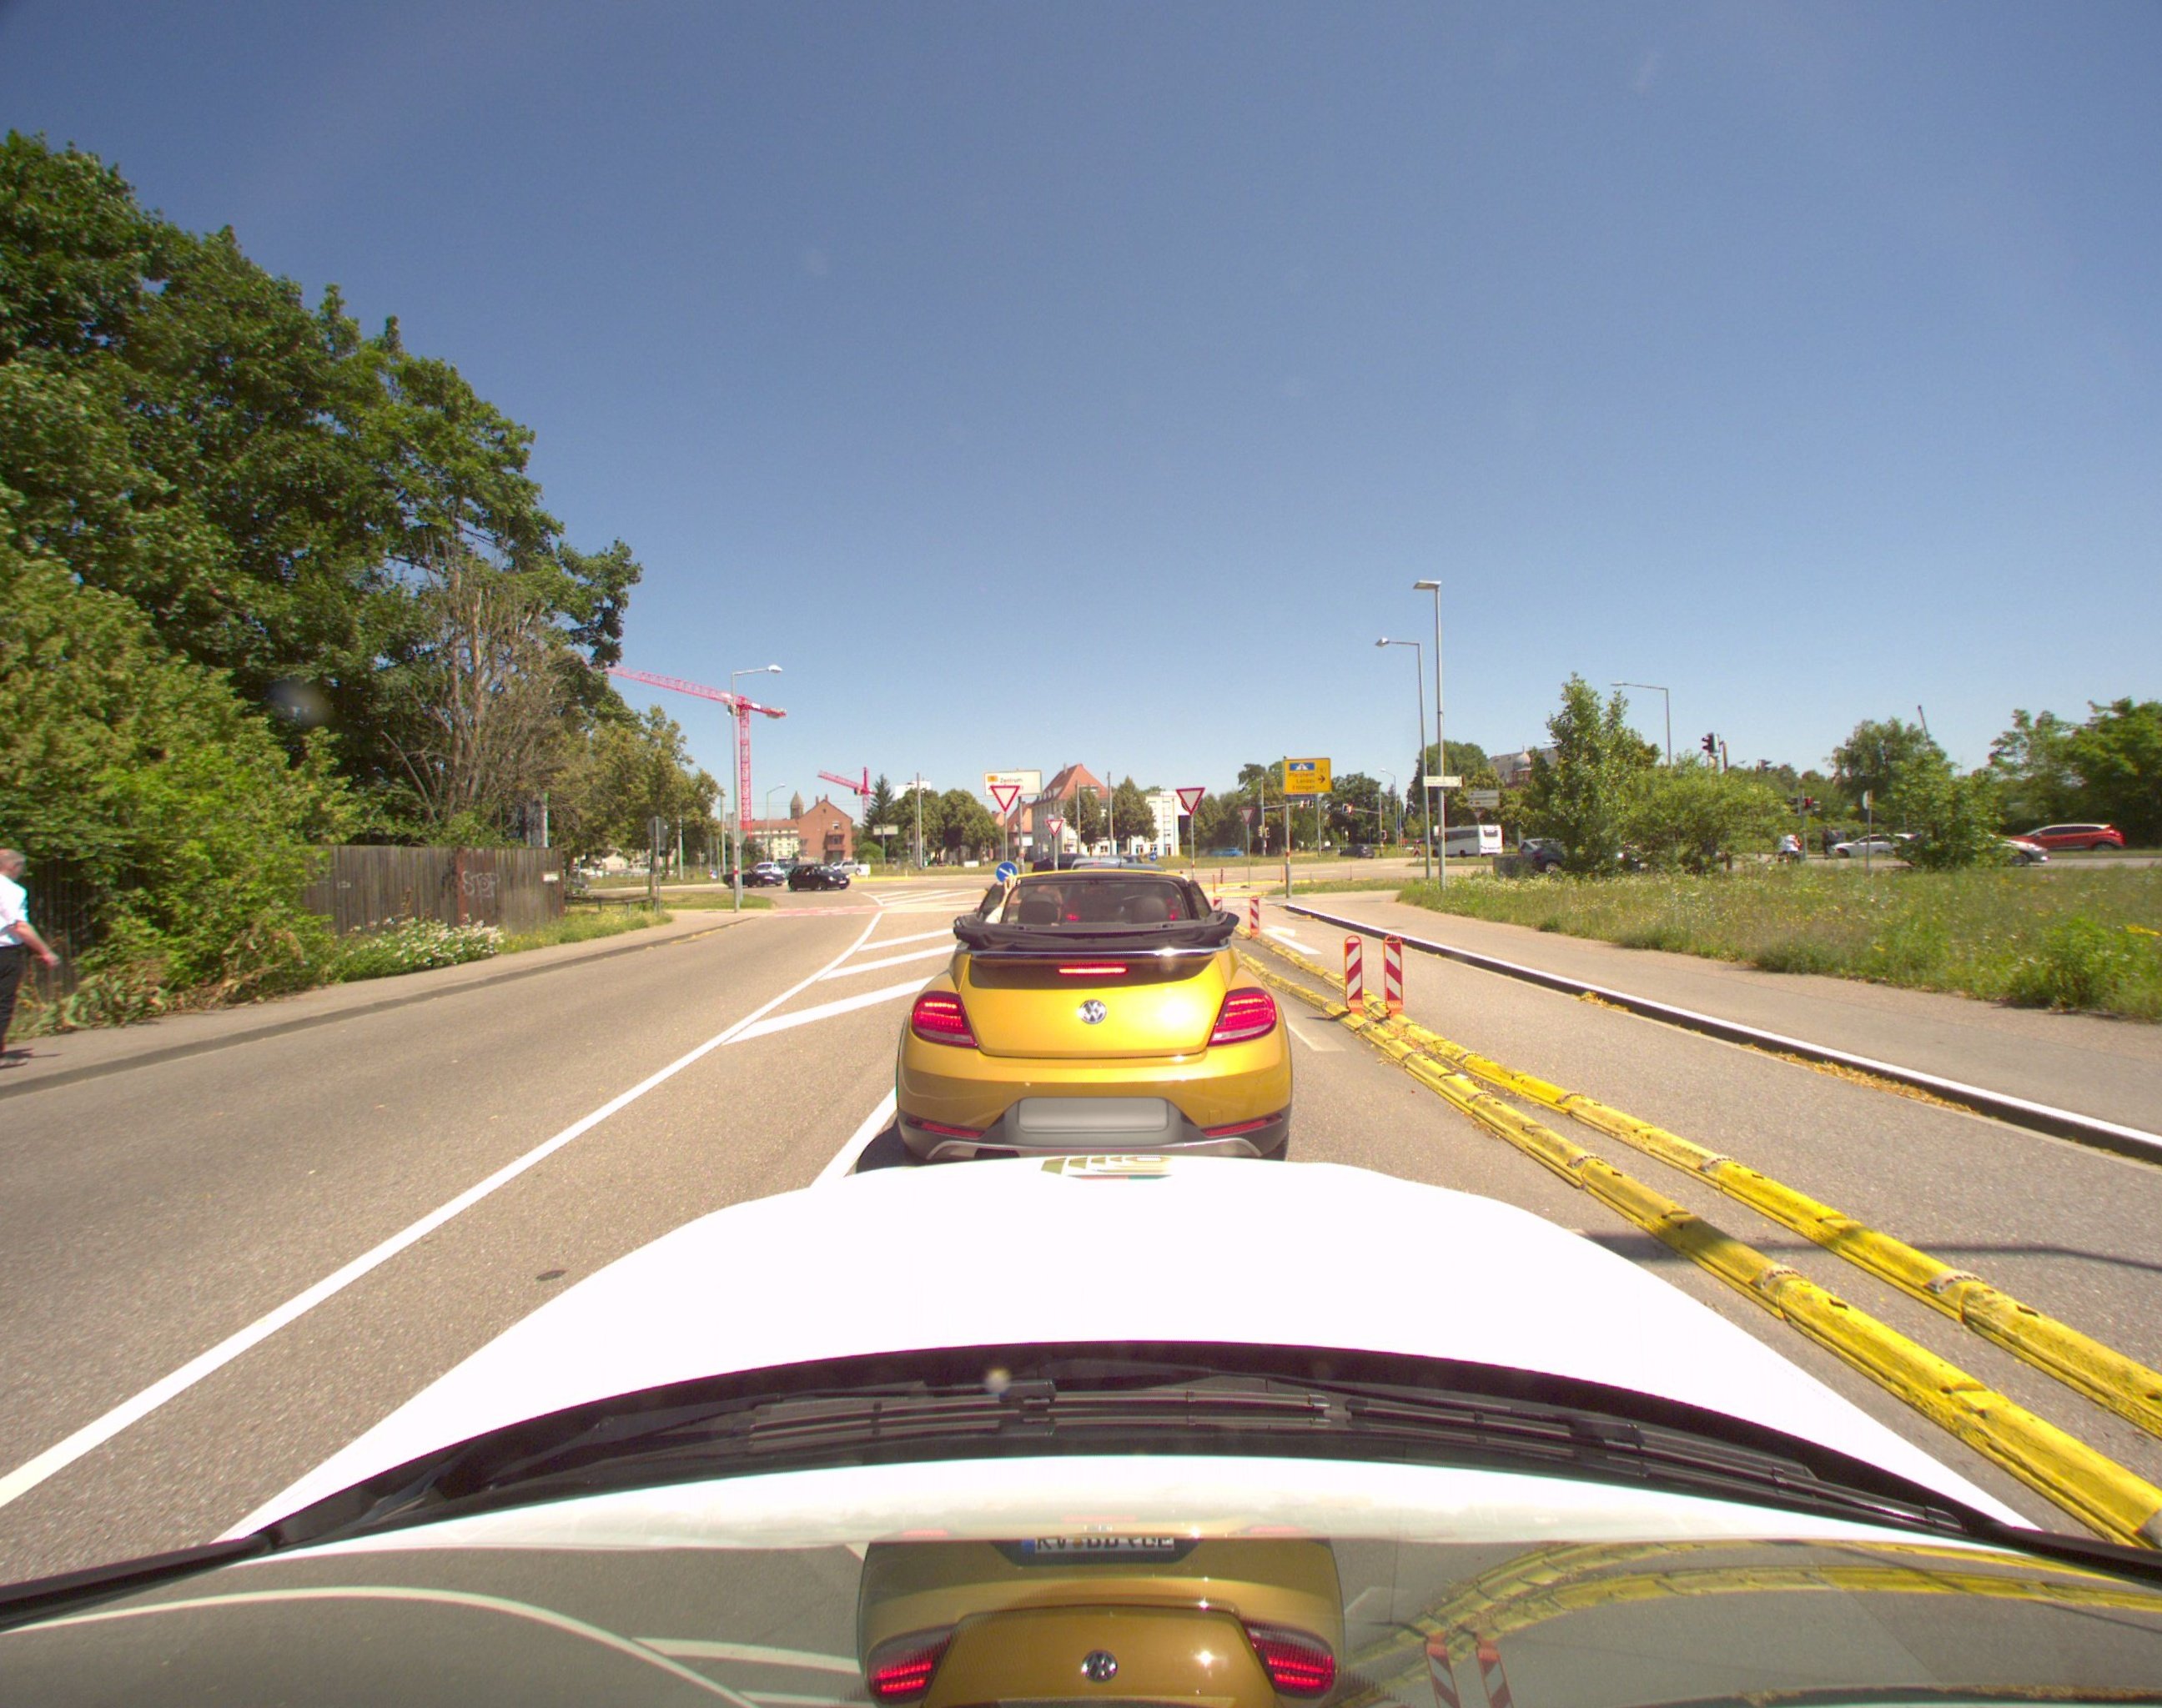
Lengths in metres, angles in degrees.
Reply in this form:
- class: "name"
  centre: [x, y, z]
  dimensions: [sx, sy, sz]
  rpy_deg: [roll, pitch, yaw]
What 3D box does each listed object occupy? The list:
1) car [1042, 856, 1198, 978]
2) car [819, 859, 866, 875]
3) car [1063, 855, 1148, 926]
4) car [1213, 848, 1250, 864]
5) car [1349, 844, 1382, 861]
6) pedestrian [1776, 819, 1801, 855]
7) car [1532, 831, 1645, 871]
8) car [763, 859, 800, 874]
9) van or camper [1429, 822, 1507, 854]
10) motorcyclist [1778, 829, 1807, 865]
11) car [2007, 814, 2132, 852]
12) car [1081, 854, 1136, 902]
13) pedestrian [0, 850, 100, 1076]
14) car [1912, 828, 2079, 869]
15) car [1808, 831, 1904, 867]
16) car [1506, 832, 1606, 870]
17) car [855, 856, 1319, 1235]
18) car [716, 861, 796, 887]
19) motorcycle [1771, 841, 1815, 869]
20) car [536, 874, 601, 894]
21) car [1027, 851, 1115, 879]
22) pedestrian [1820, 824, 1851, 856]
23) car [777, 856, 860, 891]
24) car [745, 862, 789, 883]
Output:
- class: "car"
  centre: [0.534, 0.762, 11.782]
  dimensions: [1.841, 1.442, 4.002]
  rpy_deg: [-1, 0, 2]
- class: "car"
  centre: [-23.094, 1.252, 78.945]
  dimensions: [1.690, 1.500, 4.247]
  rpy_deg: [-1, 0, 34]
- class: "car"
  centre: [0.575, 0.753, 18.800]
  dimensions: [1.730, 1.442, 4.002]
  rpy_deg: [-1, 0, 2]
- class: "car"
  centre: [17.985, 0.214, 97.205]
  dimensions: [3.954, 1.838, 2.010]
  rpy_deg: [-1, 0, 19]
- class: "car"
  centre: [27.147, -0.113, 77.871]
  dimensions: [1.645, 1.606, 3.218]
  rpy_deg: [-1, 0, -9]
- class: "pedestrian"
  centre: [36.685, -0.881, 42.227]
  dimensions: [0.647, 1.870, 0.737]
  rpy_deg: [-1, 0, 3]
- class: "car"
  centre: [21.958, -0.099, 35.391]
  dimensions: [3.963, 1.620, 1.747]
  rpy_deg: [-1, 0, 25]
- class: "car"
  centre: [-25.472, 1.050, 69.373]
  dimensions: [1.700, 1.236, 3.788]
  rpy_deg: [-1, 0, 2]
- class: "van or camper"
  centre: [35.563, -1.390, 75.197]
  dimensions: [2.507, 2.693, 7.481]
  rpy_deg: [-1, 0, -12]
- class: "motorcyclist"
  centre: [25.817, -0.252, 29.547]
  dimensions: [0.616, 1.289, 0.576]
  rpy_deg: [-1, -1, -27]
- class: "car"
  centre: [48.168, -1.003, 39.814]
  dimensions: [2.011, 1.717, 3.713]
  rpy_deg: [-1, 0, -44]
- class: "car"
  centre: [0.933, 0.761, 27.599]
  dimensions: [1.730, 1.477, 4.002]
  rpy_deg: [-1, 0, 2]
- class: "pedestrian"
  centre: [-9.012, 0.884, 6.799]
  dimensions: [0.590, 1.825, 0.851]
  rpy_deg: [-1, 0, 2]
- class: "car"
  centre: [36.001, -0.185, 32.244]
  dimensions: [4.209, 1.524, 1.833]
  rpy_deg: [-1, 0, 43]
- class: "car"
  centre: [45.353, -0.261, 47.725]
  dimensions: [3.950, 2.014, 2.012]
  rpy_deg: [-1, 0, 45]
- class: "car"
  centre: [23.025, -0.152, 39.642]
  dimensions: [3.952, 1.496, 1.656]
  rpy_deg: [-5, -1, 22]
- class: "car"
  centre: [0.073, 0.739, 5.002]
  dimensions: [1.746, 1.422, 3.778]
  rpy_deg: [-1, 0, 1]
- class: "car"
  centre: [-21.731, 1.349, 54.506]
  dimensions: [4.894, 1.656, 2.011]
  rpy_deg: [-1, 0, 22]
- class: "motorcycle"
  centre: [25.797, 0.036, 29.501]
  dimensions: [1.712, 0.970, 0.625]
  rpy_deg: [-1, 0, -28]
- class: "car"
  centre: [-36.383, 2.097, 57.775]
  dimensions: [4.225, 1.316, 1.833]
  rpy_deg: [-1, 0, 24]
- class: "car"
  centre: [-0.513, 0.602, 44.663]
  dimensions: [4.491, 1.447, 1.828]
  rpy_deg: [-1, 0, 9]
- class: "pedestrian"
  centre: [37.884, -0.704, 40.911]
  dimensions: [0.788, 1.563, 0.824]
  rpy_deg: [-1, 0, 6]
- class: "car"
  centre: [-14.332, 1.084, 44.526]
  dimensions: [3.951, 1.816, 2.011]
  rpy_deg: [-1, 0, 25]
- class: "car"
  centre: [-24.738, 1.431, 64.305]
  dimensions: [1.749, 1.549, 4.002]
  rpy_deg: [-1, 0, 2]
